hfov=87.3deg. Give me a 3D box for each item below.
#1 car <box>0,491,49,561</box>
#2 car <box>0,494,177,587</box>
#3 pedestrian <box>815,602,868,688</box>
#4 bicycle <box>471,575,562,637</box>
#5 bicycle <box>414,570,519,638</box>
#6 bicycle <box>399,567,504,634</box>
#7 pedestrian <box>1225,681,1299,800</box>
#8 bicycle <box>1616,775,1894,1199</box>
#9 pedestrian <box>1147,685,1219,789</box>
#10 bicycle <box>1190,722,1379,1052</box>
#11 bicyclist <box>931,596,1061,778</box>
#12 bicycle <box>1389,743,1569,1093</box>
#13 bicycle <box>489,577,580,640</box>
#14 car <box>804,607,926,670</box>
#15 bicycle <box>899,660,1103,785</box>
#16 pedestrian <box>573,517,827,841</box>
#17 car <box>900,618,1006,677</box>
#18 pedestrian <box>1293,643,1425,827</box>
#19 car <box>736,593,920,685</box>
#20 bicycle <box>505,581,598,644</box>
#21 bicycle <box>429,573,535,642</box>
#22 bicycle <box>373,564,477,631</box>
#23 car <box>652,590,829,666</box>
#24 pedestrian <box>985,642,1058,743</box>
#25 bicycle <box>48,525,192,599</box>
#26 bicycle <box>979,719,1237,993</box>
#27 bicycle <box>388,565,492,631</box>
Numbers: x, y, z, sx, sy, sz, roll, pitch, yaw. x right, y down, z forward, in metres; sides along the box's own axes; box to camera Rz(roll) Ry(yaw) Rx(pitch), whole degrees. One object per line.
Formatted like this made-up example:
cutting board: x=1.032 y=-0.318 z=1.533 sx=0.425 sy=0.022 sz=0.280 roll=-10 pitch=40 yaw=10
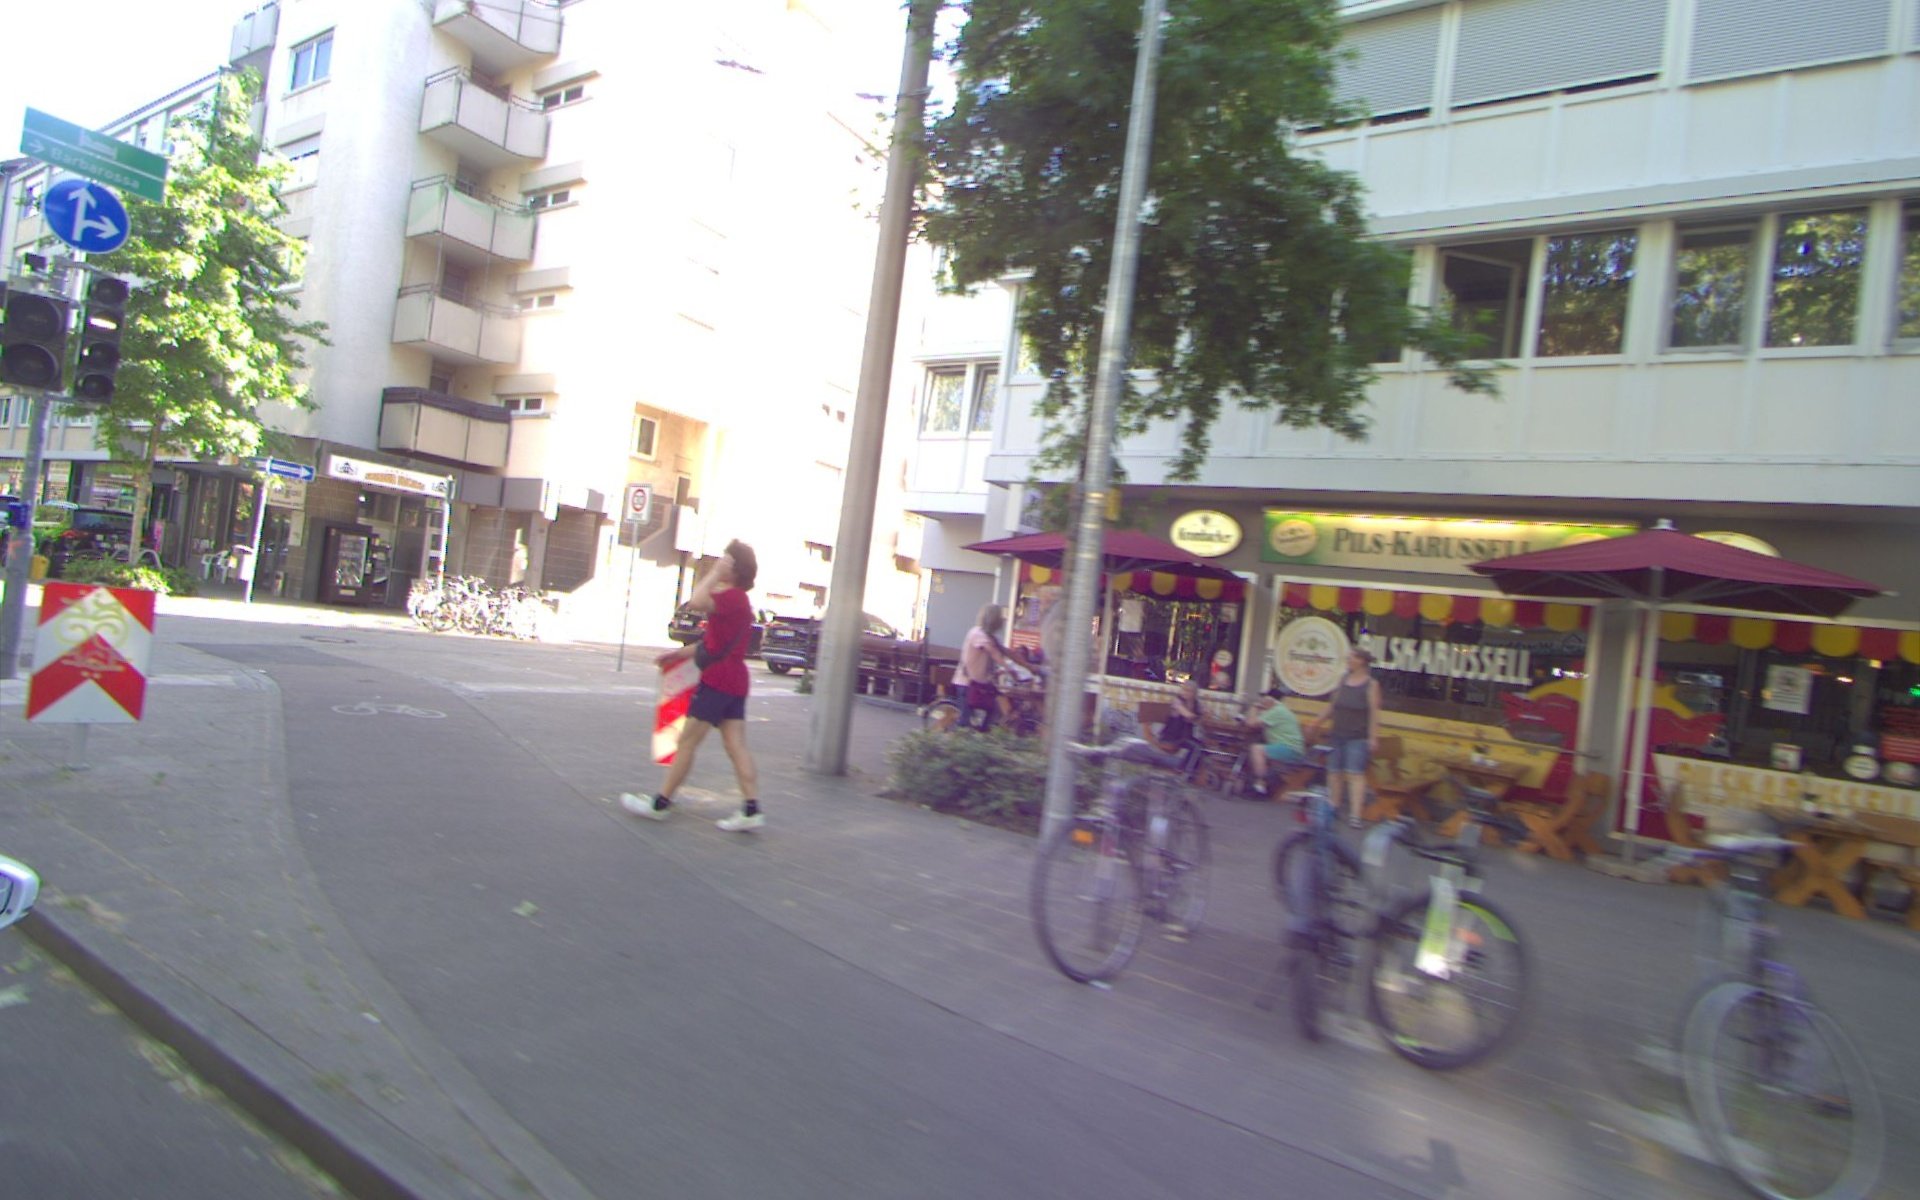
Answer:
car: x=-26.162 y=-2.115 z=26.701 sx=4.344 sy=1.624 sz=1.803 roll=6 pitch=-3 yaw=34
car: x=-20.103 y=-1.387 z=23.064 sx=4.374 sy=1.634 sz=1.996 roll=6 pitch=-2 yaw=34
pedestrian: x=-2.282 y=0.867 z=19.415 sx=0.635 sy=1.579 sz=0.551 roll=5 pitch=-3 yaw=38
bicycle: x=-10.394 y=0.165 z=23.666 sx=0.502 sy=1.221 sz=1.919 roll=6 pitch=-3 yaw=30
bicycle: x=-10.341 y=0.111 z=21.150 sx=0.502 sy=1.222 sz=1.918 roll=8 pitch=-1 yaw=30
bicycle: x=-10.785 y=0.033 z=21.423 sx=0.502 sy=1.222 sz=1.918 roll=7 pitch=-1 yaw=30
pedestrian: x=3.325 y=1.533 z=11.056 sx=0.513 sy=1.188 sz=0.660 roll=6 pitch=-2 yaw=31
bicycle: x=2.822 y=1.292 z=3.728 sx=0.517 sy=1.113 sz=1.818 roll=6 pitch=-2 yaw=32
pedestrian: x=2.560 y=1.568 z=11.544 sx=0.513 sy=1.091 sz=0.643 roll=6 pitch=-2 yaw=31
bicycle: x=1.545 y=1.151 z=4.576 sx=0.489 sy=1.112 sz=1.822 roll=6 pitch=-3 yaw=25
bicyclist: x=0.376 y=0.895 z=10.506 sx=0.950 sy=1.736 sz=0.677 roll=6 pitch=-2 yaw=36
bicycle: x=2.249 y=1.247 z=4.464 sx=0.473 sy=1.112 sz=1.822 roll=6 pitch=-3 yaw=25
bicycle: x=-9.837 y=0.227 z=23.332 sx=0.502 sy=1.221 sz=1.919 roll=6 pitch=-3 yaw=30
car: x=-2.968 y=1.270 z=32.170 sx=1.679 sy=1.526 sz=3.996 roll=6 pitch=-3 yaw=32
bicycle: x=0.395 y=1.244 z=10.468 sx=1.991 sy=0.974 sz=0.677 roll=6 pitch=-3 yaw=36
pedestrian: x=-1.602 y=0.473 z=6.336 sx=1.028 sy=1.778 sz=0.879 roll=7 pitch=-2 yaw=19
car: x=-0.196 y=1.772 z=36.491 sx=1.806 sy=1.640 sz=4.069 roll=6 pitch=-3 yaw=32
pedestrian: x=3.960 y=1.325 z=10.014 sx=0.802 sy=1.678 sz=0.677 roll=8 pitch=-2 yaw=-17
car: x=-2.852 y=0.956 z=22.754 sx=1.933 sy=1.609 sz=4.262 roll=5 pitch=-3 yaw=27
bicycle: x=-9.320 y=0.305 z=23.032 sx=0.502 sy=1.221 sz=1.919 roll=8 pitch=-1 yaw=30
bicycle: x=-9.889 y=0.180 z=20.893 sx=0.502 sy=1.222 sz=1.918 roll=8 pitch=-1 yaw=30
bicycle: x=-11.681 y=-0.025 z=22.040 sx=0.502 sy=1.221 sz=1.919 roll=6 pitch=-3 yaw=30
car: x=-5.882 y=0.810 z=27.533 sx=1.841 sy=1.495 sz=4.590 roll=9 pitch=0 yaw=34
pedestrian: x=0.867 y=1.295 z=14.113 sx=0.704 sy=1.302 sz=0.536 roll=6 pitch=-2 yaw=35
bicycle: x=-17.556 y=-0.775 z=21.071 sx=0.672 sy=1.200 sz=2.125 roll=6 pitch=-3 yaw=41
bicycle: x=0.800 y=1.118 z=4.848 sx=0.473 sy=1.005 sz=1.820 roll=6 pitch=-3 yaw=31
bicycle: x=-11.212 y=-0.014 z=21.765 sx=0.502 sy=1.222 sz=1.918 roll=7 pitch=-1 yaw=30
